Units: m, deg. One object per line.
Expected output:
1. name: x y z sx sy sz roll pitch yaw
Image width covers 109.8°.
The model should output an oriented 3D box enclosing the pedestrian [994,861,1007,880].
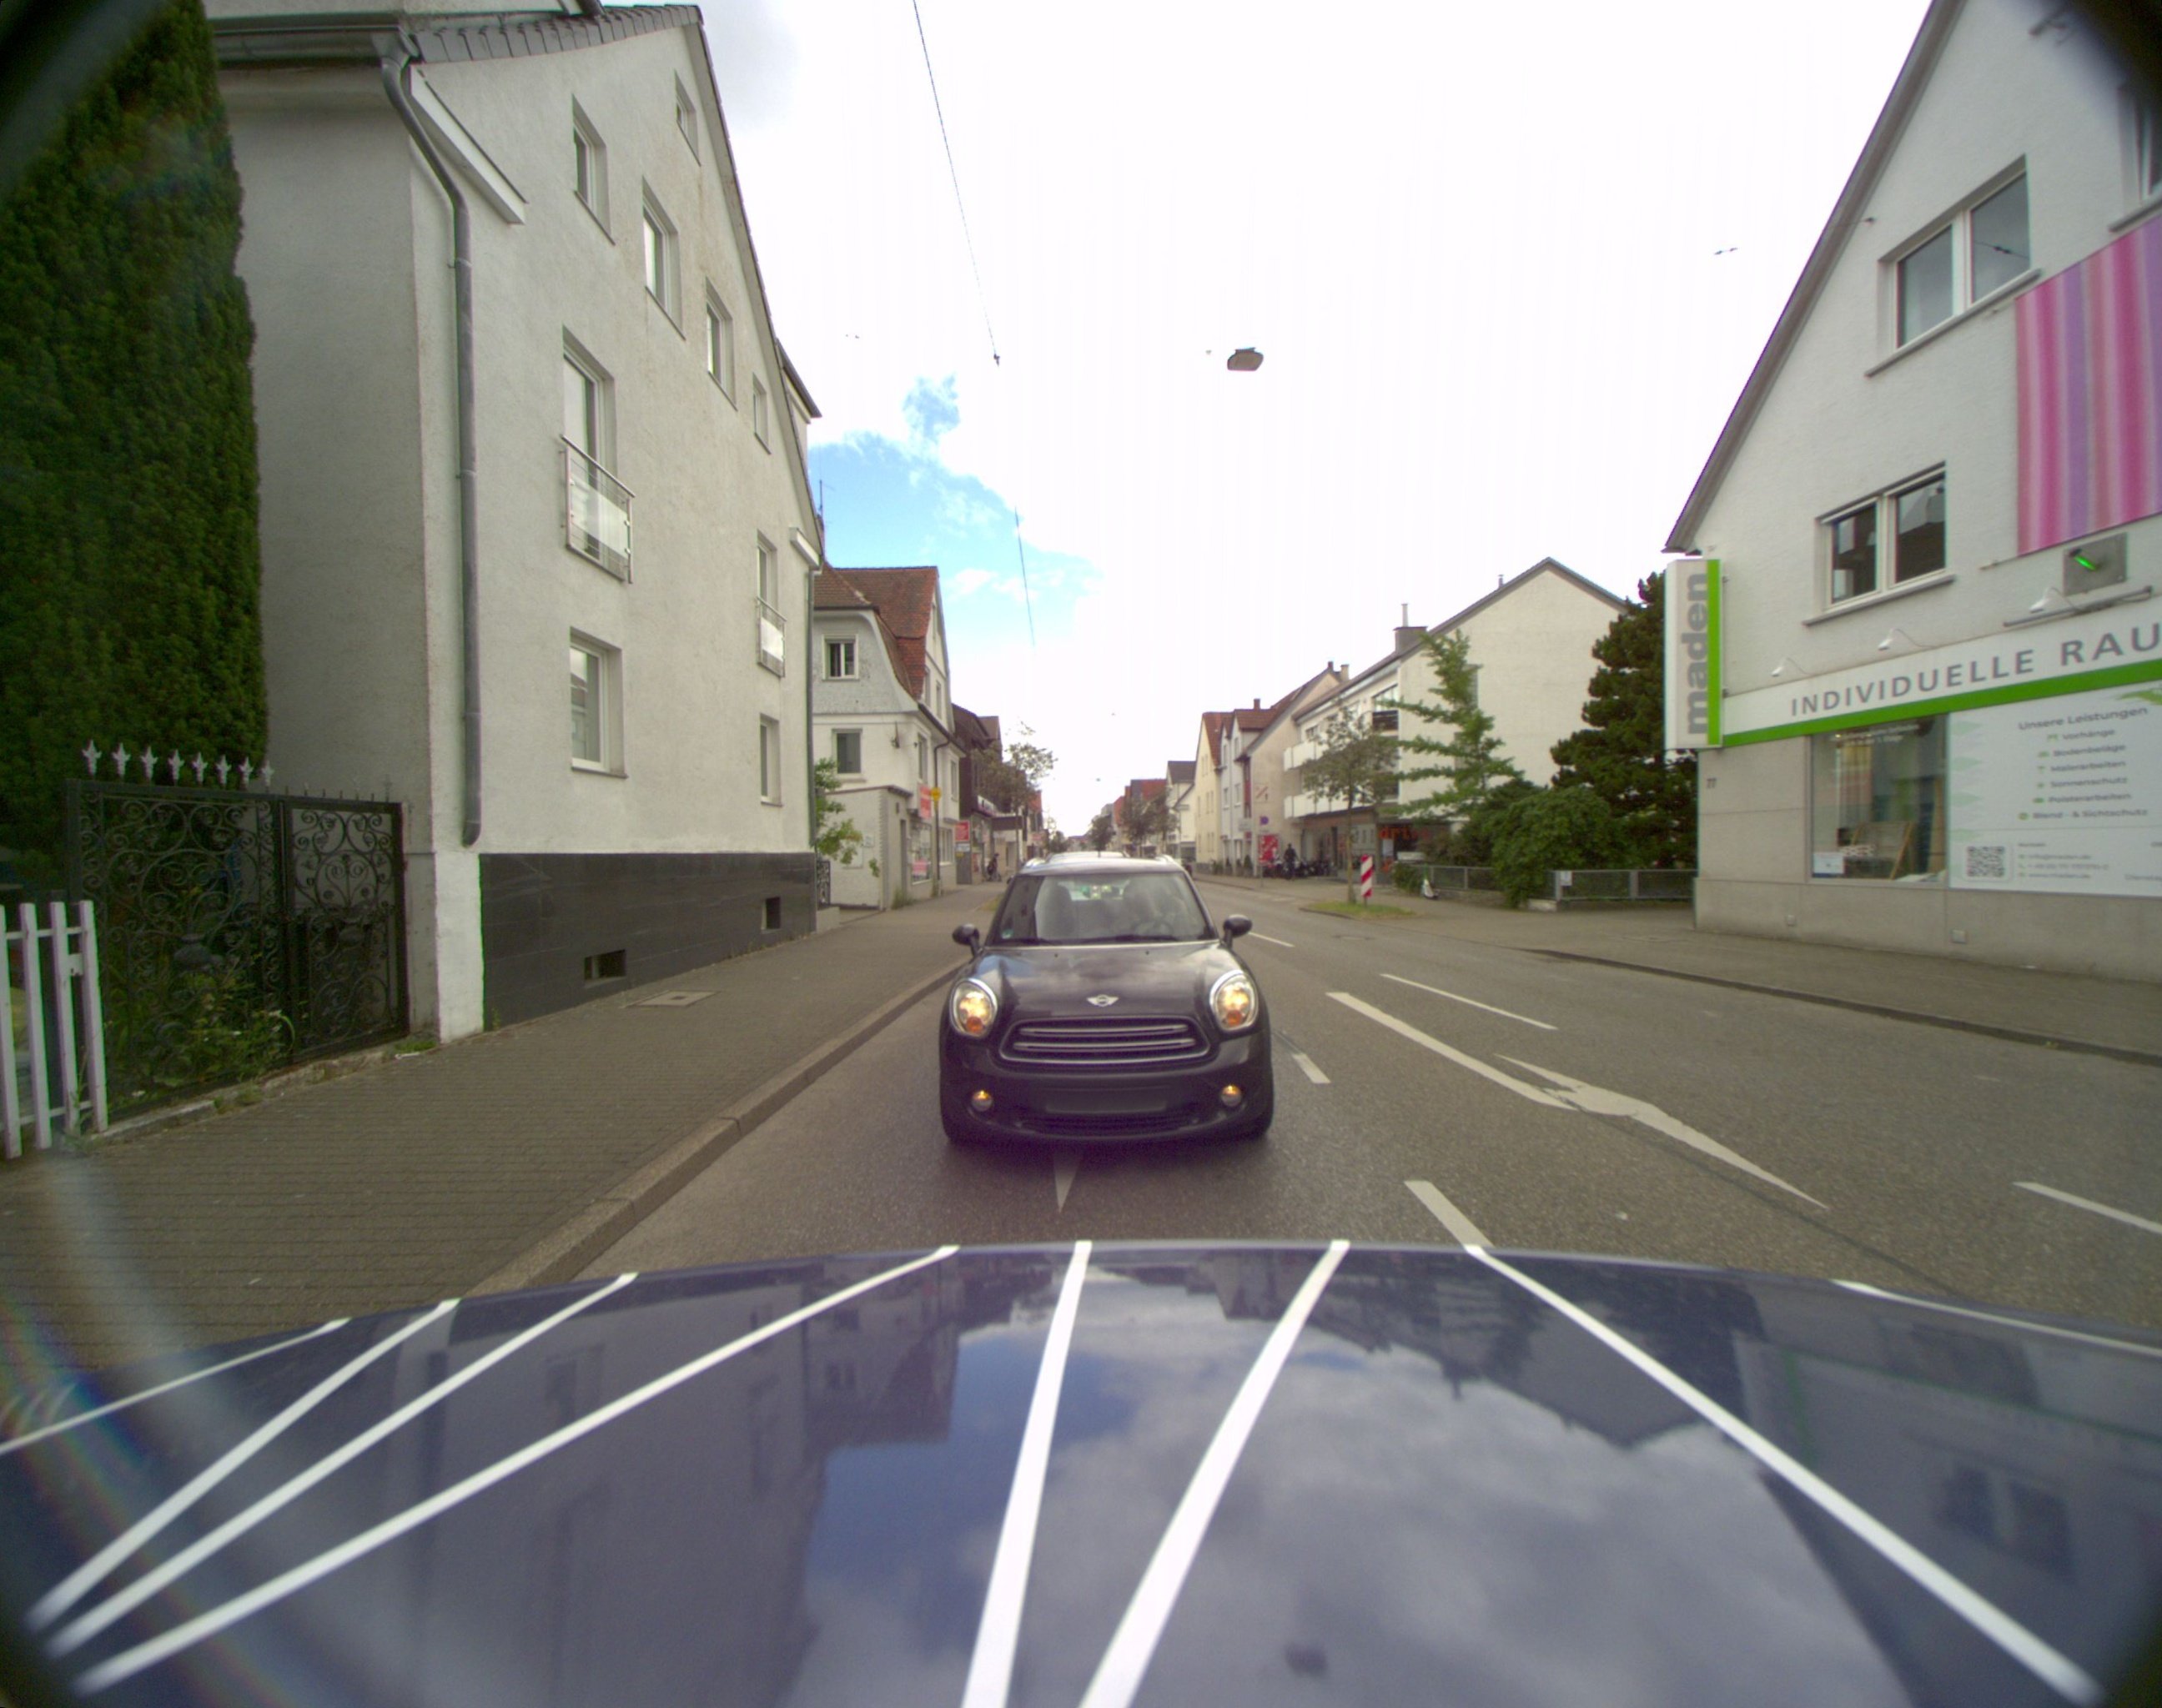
1. pedestrian: -4.952 1.009 46.813 0.742 1.204 0.644 0 1 -1

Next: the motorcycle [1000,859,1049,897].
1. motorcycle: -2.206 0.902 29.320 0.777 1.373 2.237 -2 1 -37

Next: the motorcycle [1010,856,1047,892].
1. motorcycle: -2.257 0.837 32.915 0.648 1.432 2.472 -1 1 19

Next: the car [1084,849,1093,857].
1. car: 1.906 -0.274 191.443 1.855 1.932 4.489 1 0 -2

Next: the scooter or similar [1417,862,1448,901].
1. scooter or similar: 10.362 0.793 22.422 0.340 1.105 1.180 -2 1 0

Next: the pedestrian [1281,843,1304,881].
1. pedestrian: 10.622 0.381 38.153 0.753 1.838 1.019 -5 1 0

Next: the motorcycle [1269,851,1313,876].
1. motorcycle: 11.743 0.527 42.493 2.231 1.258 0.699 -4 1 -2

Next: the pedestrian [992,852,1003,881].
1. pedestrian: -5.051 0.725 46.017 0.644 1.730 0.742 0 1 -6

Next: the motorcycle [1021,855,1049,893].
1. motorcycle: -1.893 0.807 31.823 0.672 1.516 2.599 -2 1 6

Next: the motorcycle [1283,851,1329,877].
1. motorcycle: 12.083 0.541 40.822 2.231 1.258 0.613 -4 1 -2

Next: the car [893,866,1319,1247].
1. car: 0.040 0.929 5.740 1.855 1.527 4.735 -2 0 -2

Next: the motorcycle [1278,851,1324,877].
1. motorcycle: 12.054 0.536 41.652 2.231 1.258 0.613 -4 1 -2

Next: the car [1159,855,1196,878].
1. car: 6.439 0.817 51.118 1.792 1.409 4.340 0 0 -1

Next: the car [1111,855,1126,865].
1. car: 5.262 0.813 107.782 1.716 1.389 3.899 -2 0 -2

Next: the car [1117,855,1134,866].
1. car: 5.633 0.827 97.029 1.716 1.389 3.899 -2 0 -2

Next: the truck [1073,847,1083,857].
1. truck: -0.897 -0.593 219.267 2.800 3.020 8.250 -2 0 0

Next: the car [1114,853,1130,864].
1. car: 5.470 0.626 102.136 1.716 1.389 3.899 -2 0 -2

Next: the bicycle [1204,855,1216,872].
1. bicycle: 9.411 0.704 55.462 0.515 1.189 2.023 -2 1 -1

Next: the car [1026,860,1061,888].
1. car: -2.074 1.093 43.285 1.830 1.400 4.564 -2 0 -1

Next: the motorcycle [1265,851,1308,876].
1. motorcycle: 11.724 0.536 43.302 2.231 1.258 0.613 -4 1 -2

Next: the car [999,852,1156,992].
1. car: -0.026 0.819 11.575 1.855 1.615 4.736 -2 0 0

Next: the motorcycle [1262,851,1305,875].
1. motorcycle: 11.718 0.532 44.018 2.231 1.258 0.613 -4 1 -2

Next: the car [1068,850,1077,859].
1. car: -1.939 0.151 172.730 2.059 2.002 4.186 -2 0 -1

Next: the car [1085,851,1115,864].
1. car: 2.835 0.481 113.561 4.003 1.772 1.997 -2 1 -19

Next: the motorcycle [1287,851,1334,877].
1. motorcycle: 12.101 0.518 40.084 2.231 1.258 0.613 -4 1 -2

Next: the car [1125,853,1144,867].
1. car: 6.021 0.668 86.497 1.716 1.389 3.899 -2 0 -2
